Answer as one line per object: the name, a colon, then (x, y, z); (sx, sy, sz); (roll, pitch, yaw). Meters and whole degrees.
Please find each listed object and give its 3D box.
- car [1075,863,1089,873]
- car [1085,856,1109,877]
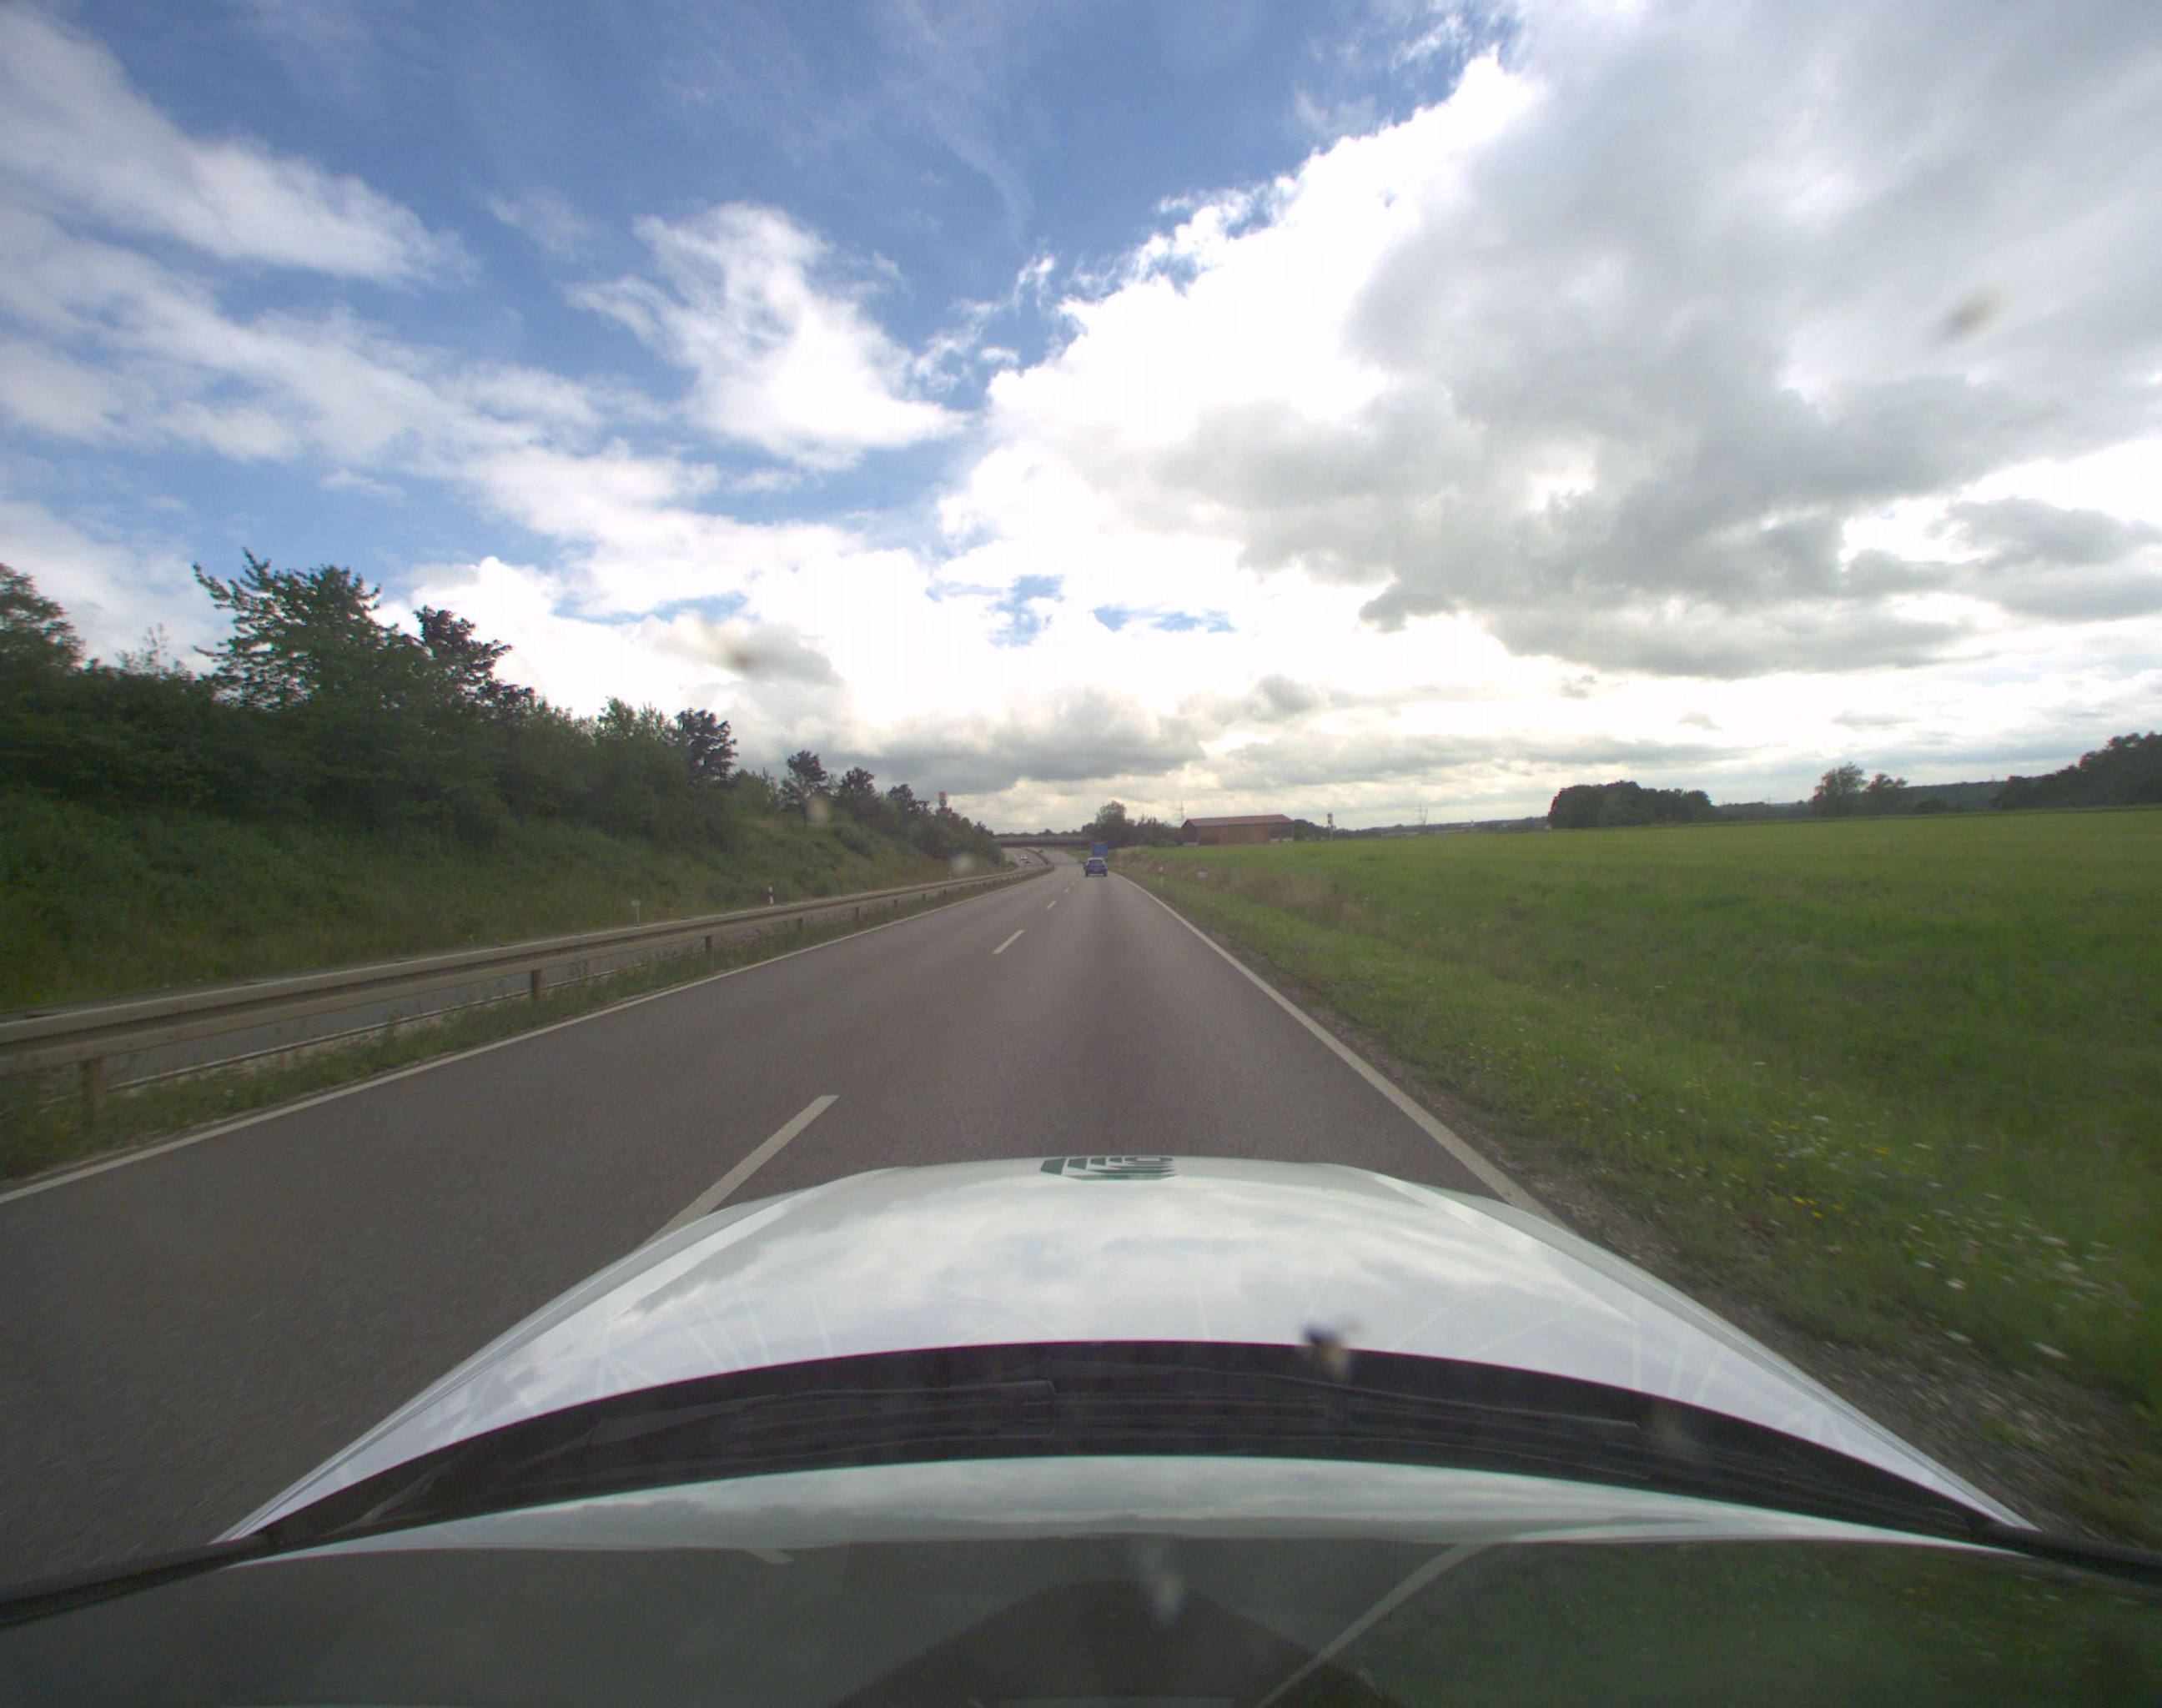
car: (0.130, 2.164, 128.441); (1.913, 1.453, 4.359); (-3, 1, -3)
car: (1.389, 1.102, 72.311); (2.026, 1.660, 4.543); (-1, 1, 0)
